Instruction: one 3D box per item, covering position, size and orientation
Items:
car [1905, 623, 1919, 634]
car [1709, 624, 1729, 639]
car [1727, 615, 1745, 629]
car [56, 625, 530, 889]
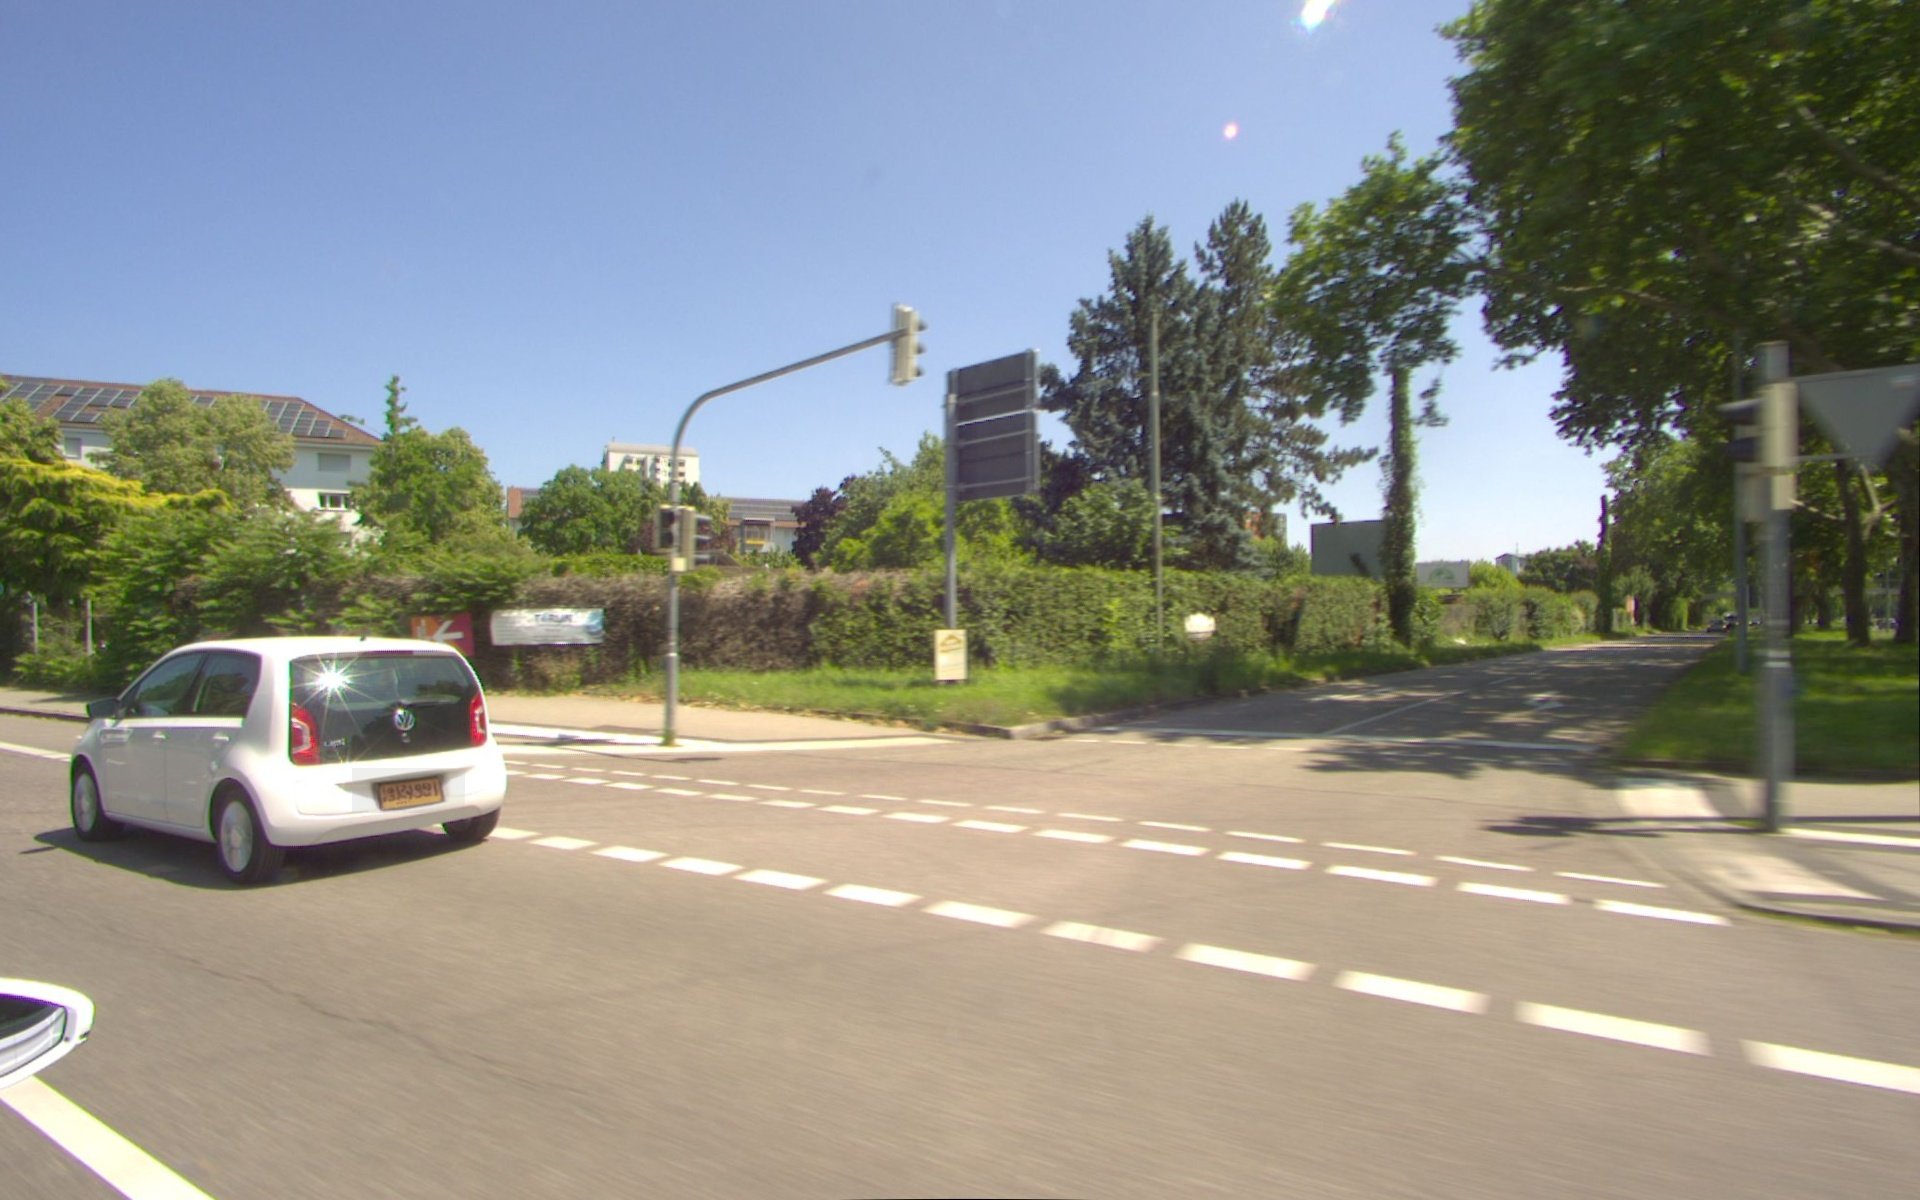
[{"bbox_3d":[128.458,3.864,134.964,1.476,1.464,3.322,-2,-3,44],"label":"car"},{"bbox_3d":[84.952,3.551,112.083,1.739,1.682,3.874,-1,-3,39],"label":"car"},{"bbox_3d":[100.413,2.883,129.541,1.739,1.682,3.874,-1,-3,39],"label":"car"},{"bbox_3d":[-4.896,0.943,7.276,3.386,1.466,1.607,0,-2,32],"label":"car"}]
